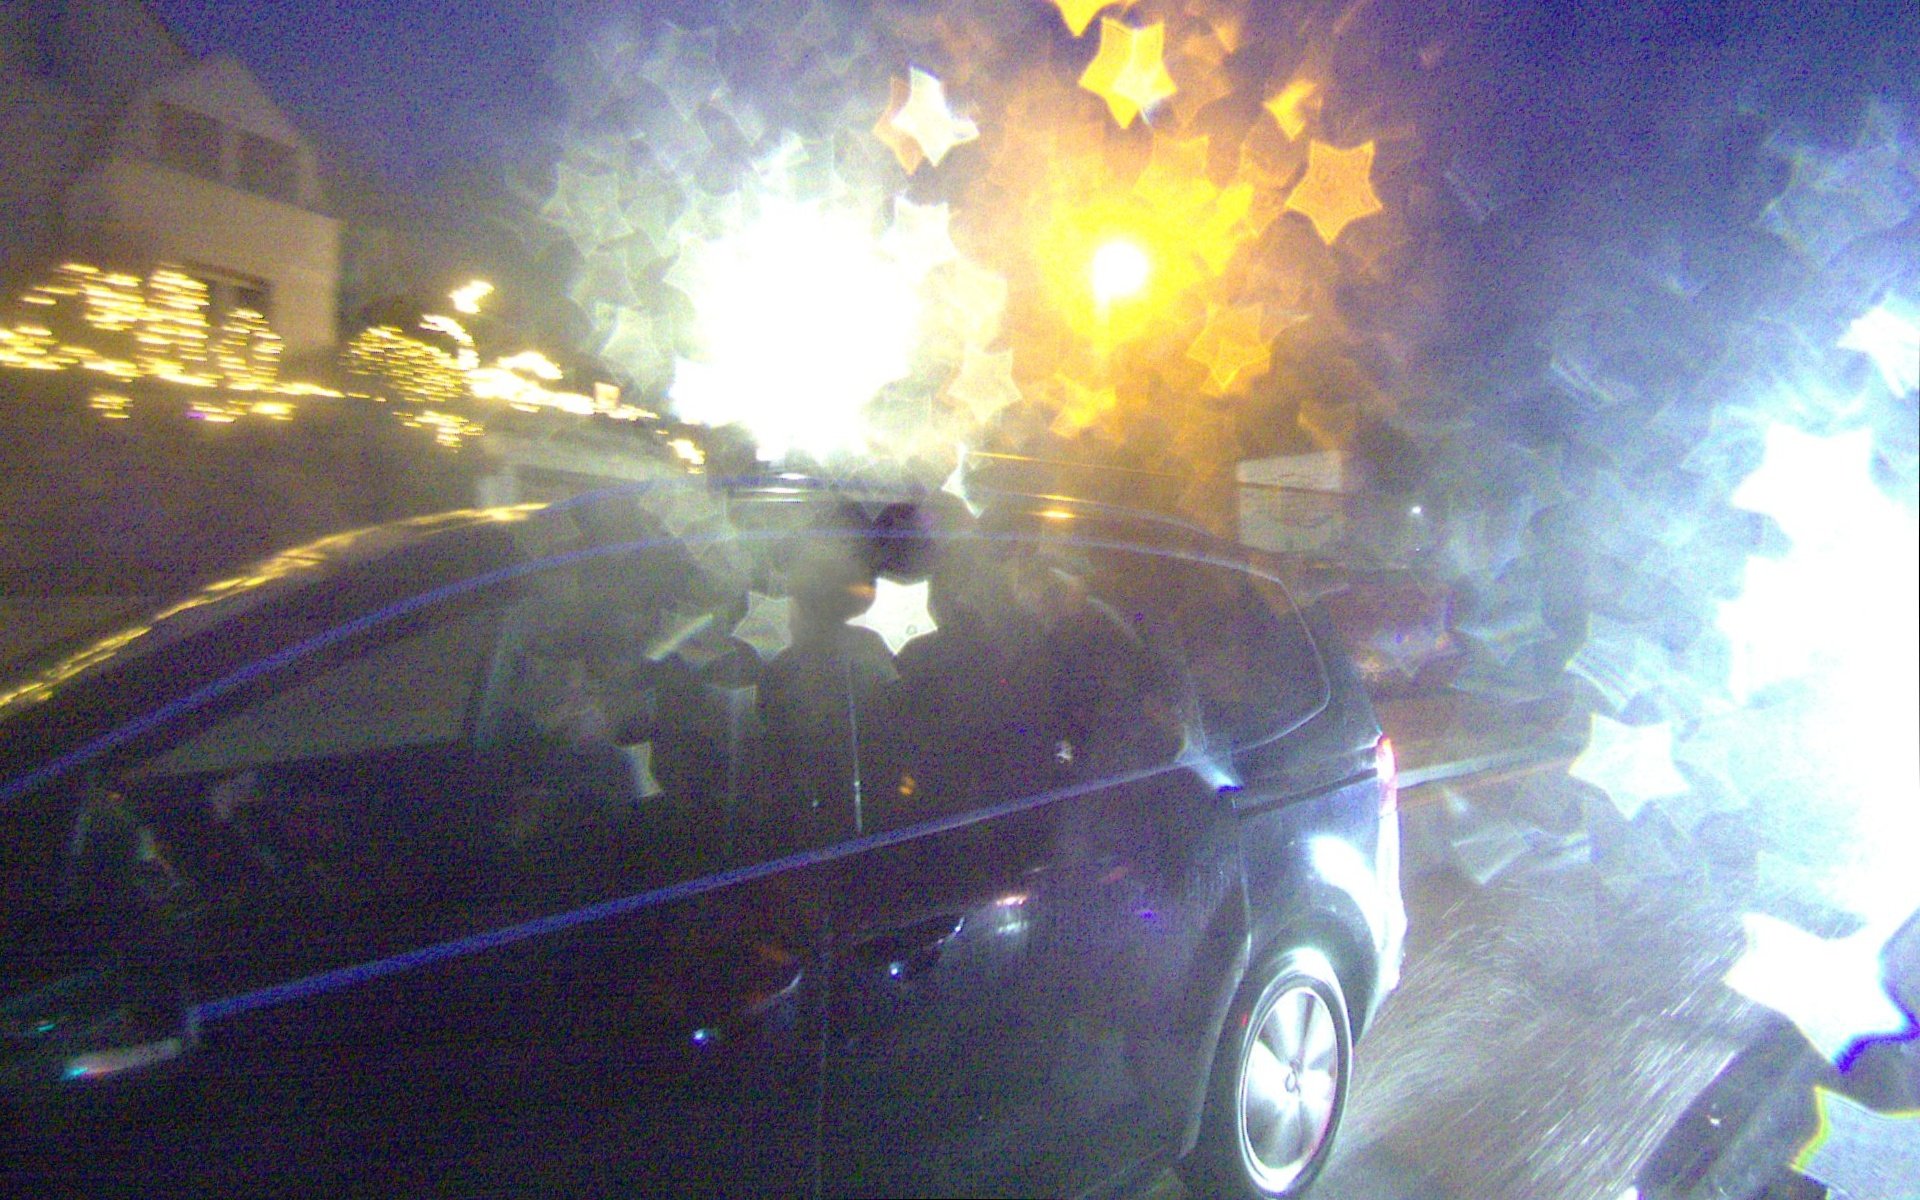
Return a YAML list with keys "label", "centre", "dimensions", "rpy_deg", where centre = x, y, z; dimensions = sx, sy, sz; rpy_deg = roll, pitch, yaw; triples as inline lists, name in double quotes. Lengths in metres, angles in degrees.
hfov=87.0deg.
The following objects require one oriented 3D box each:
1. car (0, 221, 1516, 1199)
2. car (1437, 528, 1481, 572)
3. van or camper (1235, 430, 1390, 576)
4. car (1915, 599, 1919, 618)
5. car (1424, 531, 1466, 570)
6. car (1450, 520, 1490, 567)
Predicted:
- label: "car"
  centre: [-0.663, 0.524, 2.313]
  dimensions: [4.855, 1.757, 1.837]
  rpy_deg: [-1, 0, -41]
- label: "car"
  centre: [30.363, -2.999, 61.523]
  dimensions: [1.922, 2.451, 4.206]
  rpy_deg: [0, 0, 32]
- label: "van or camper"
  centre: [8.315, -2.021, 23.454]
  dimensions: [2.394, 2.828, 5.712]
  rpy_deg: [0, 0, 30]
- label: "car"
  centre: [101.388, 0.879, 104.497]
  dimensions: [1.965, 2.039, 3.993]
  rpy_deg: [0, 0, 6]
- label: "car"
  centre: [27.336, -2.765, 56.971]
  dimensions: [1.721, 2.039, 3.658]
  rpy_deg: [0, 0, 32]
- label: "car"
  centre: [33.272, -3.644, 66.028]
  dimensions: [1.922, 2.810, 4.206]
  rpy_deg: [-1, 0, 32]
